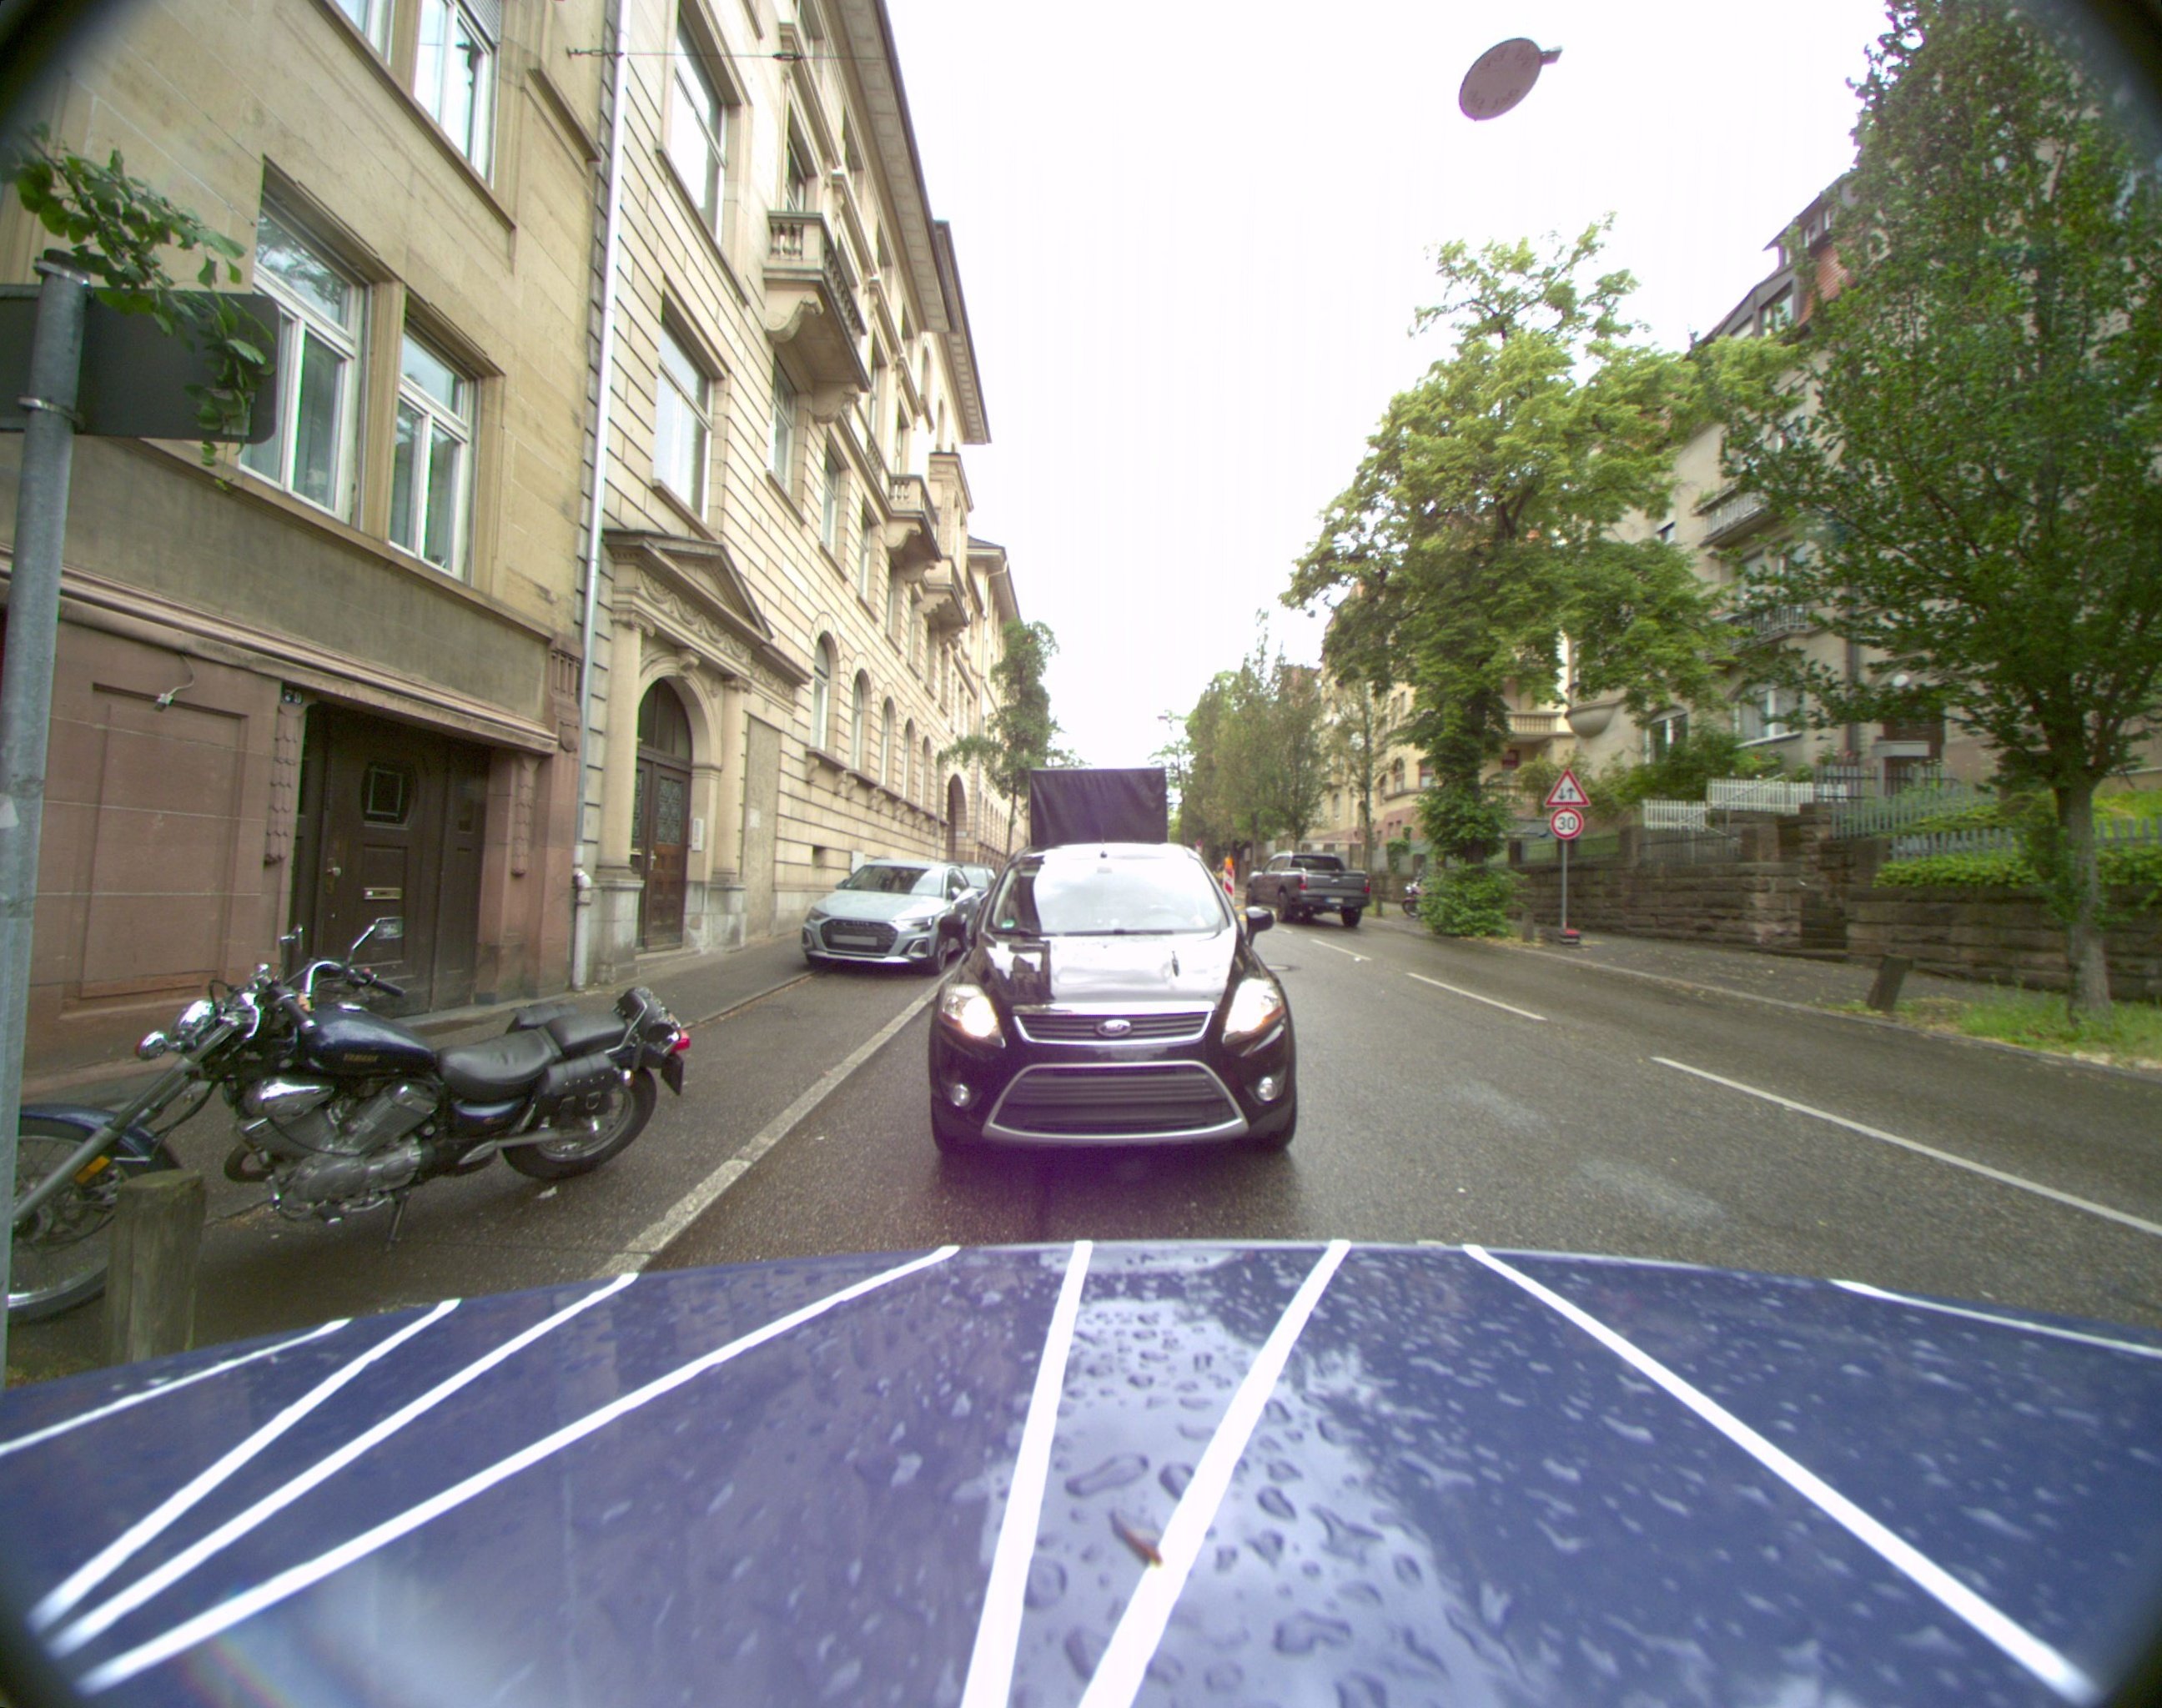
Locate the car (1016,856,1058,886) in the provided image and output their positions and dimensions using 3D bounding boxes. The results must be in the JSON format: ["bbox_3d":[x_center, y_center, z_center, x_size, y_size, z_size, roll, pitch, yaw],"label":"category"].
[{"bbox_3d":[-2.388,0.896,42.467,1.910,1.502,4.318,3,0,1],"label":"car"}]

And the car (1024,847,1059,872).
[{"bbox_3d":[-2.587,0.340,50.753,1.910,1.502,4.318,3,0,1],"label":"car"}]

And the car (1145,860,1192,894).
[{"bbox_3d":[4.131,1.054,36.356,1.670,1.463,3.656,3,0,-1],"label":"car"}]

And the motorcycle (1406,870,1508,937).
[{"bbox_3d":[8.901,1.124,18.203,0.802,1.406,3.061,-2,0,-2],"label":"motorcycle"}]

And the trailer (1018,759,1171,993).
[{"bbox_3d":[0.157,0.244,11.326,1.783,2.744,4.816,0,1,0],"label":"trailer"}]

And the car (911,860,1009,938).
[{"bbox_3d":[-2.540,0.897,16.591,1.495,1.440,3.181,3,0,1],"label":"car"}]

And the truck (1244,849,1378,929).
[{"bbox_3d":[5.992,0.841,20.570,2.075,1.825,5.154,2,0,1],"label":"truck"}]

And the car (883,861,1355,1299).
[{"bbox_3d":[0.201,0.895,5.204,1.823,1.662,4.522,0,0,1],"label":"car"}]

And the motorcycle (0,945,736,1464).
[{"bbox_3d":[-2.535,1.017,2.740,0.523,1.236,2.282,3,-1,39],"label":"motorcycle"}]

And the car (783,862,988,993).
[{"bbox_3d":[-2.594,0.895,11.126,1.794,1.444,4.039,3,0,1],"label":"car"}]
